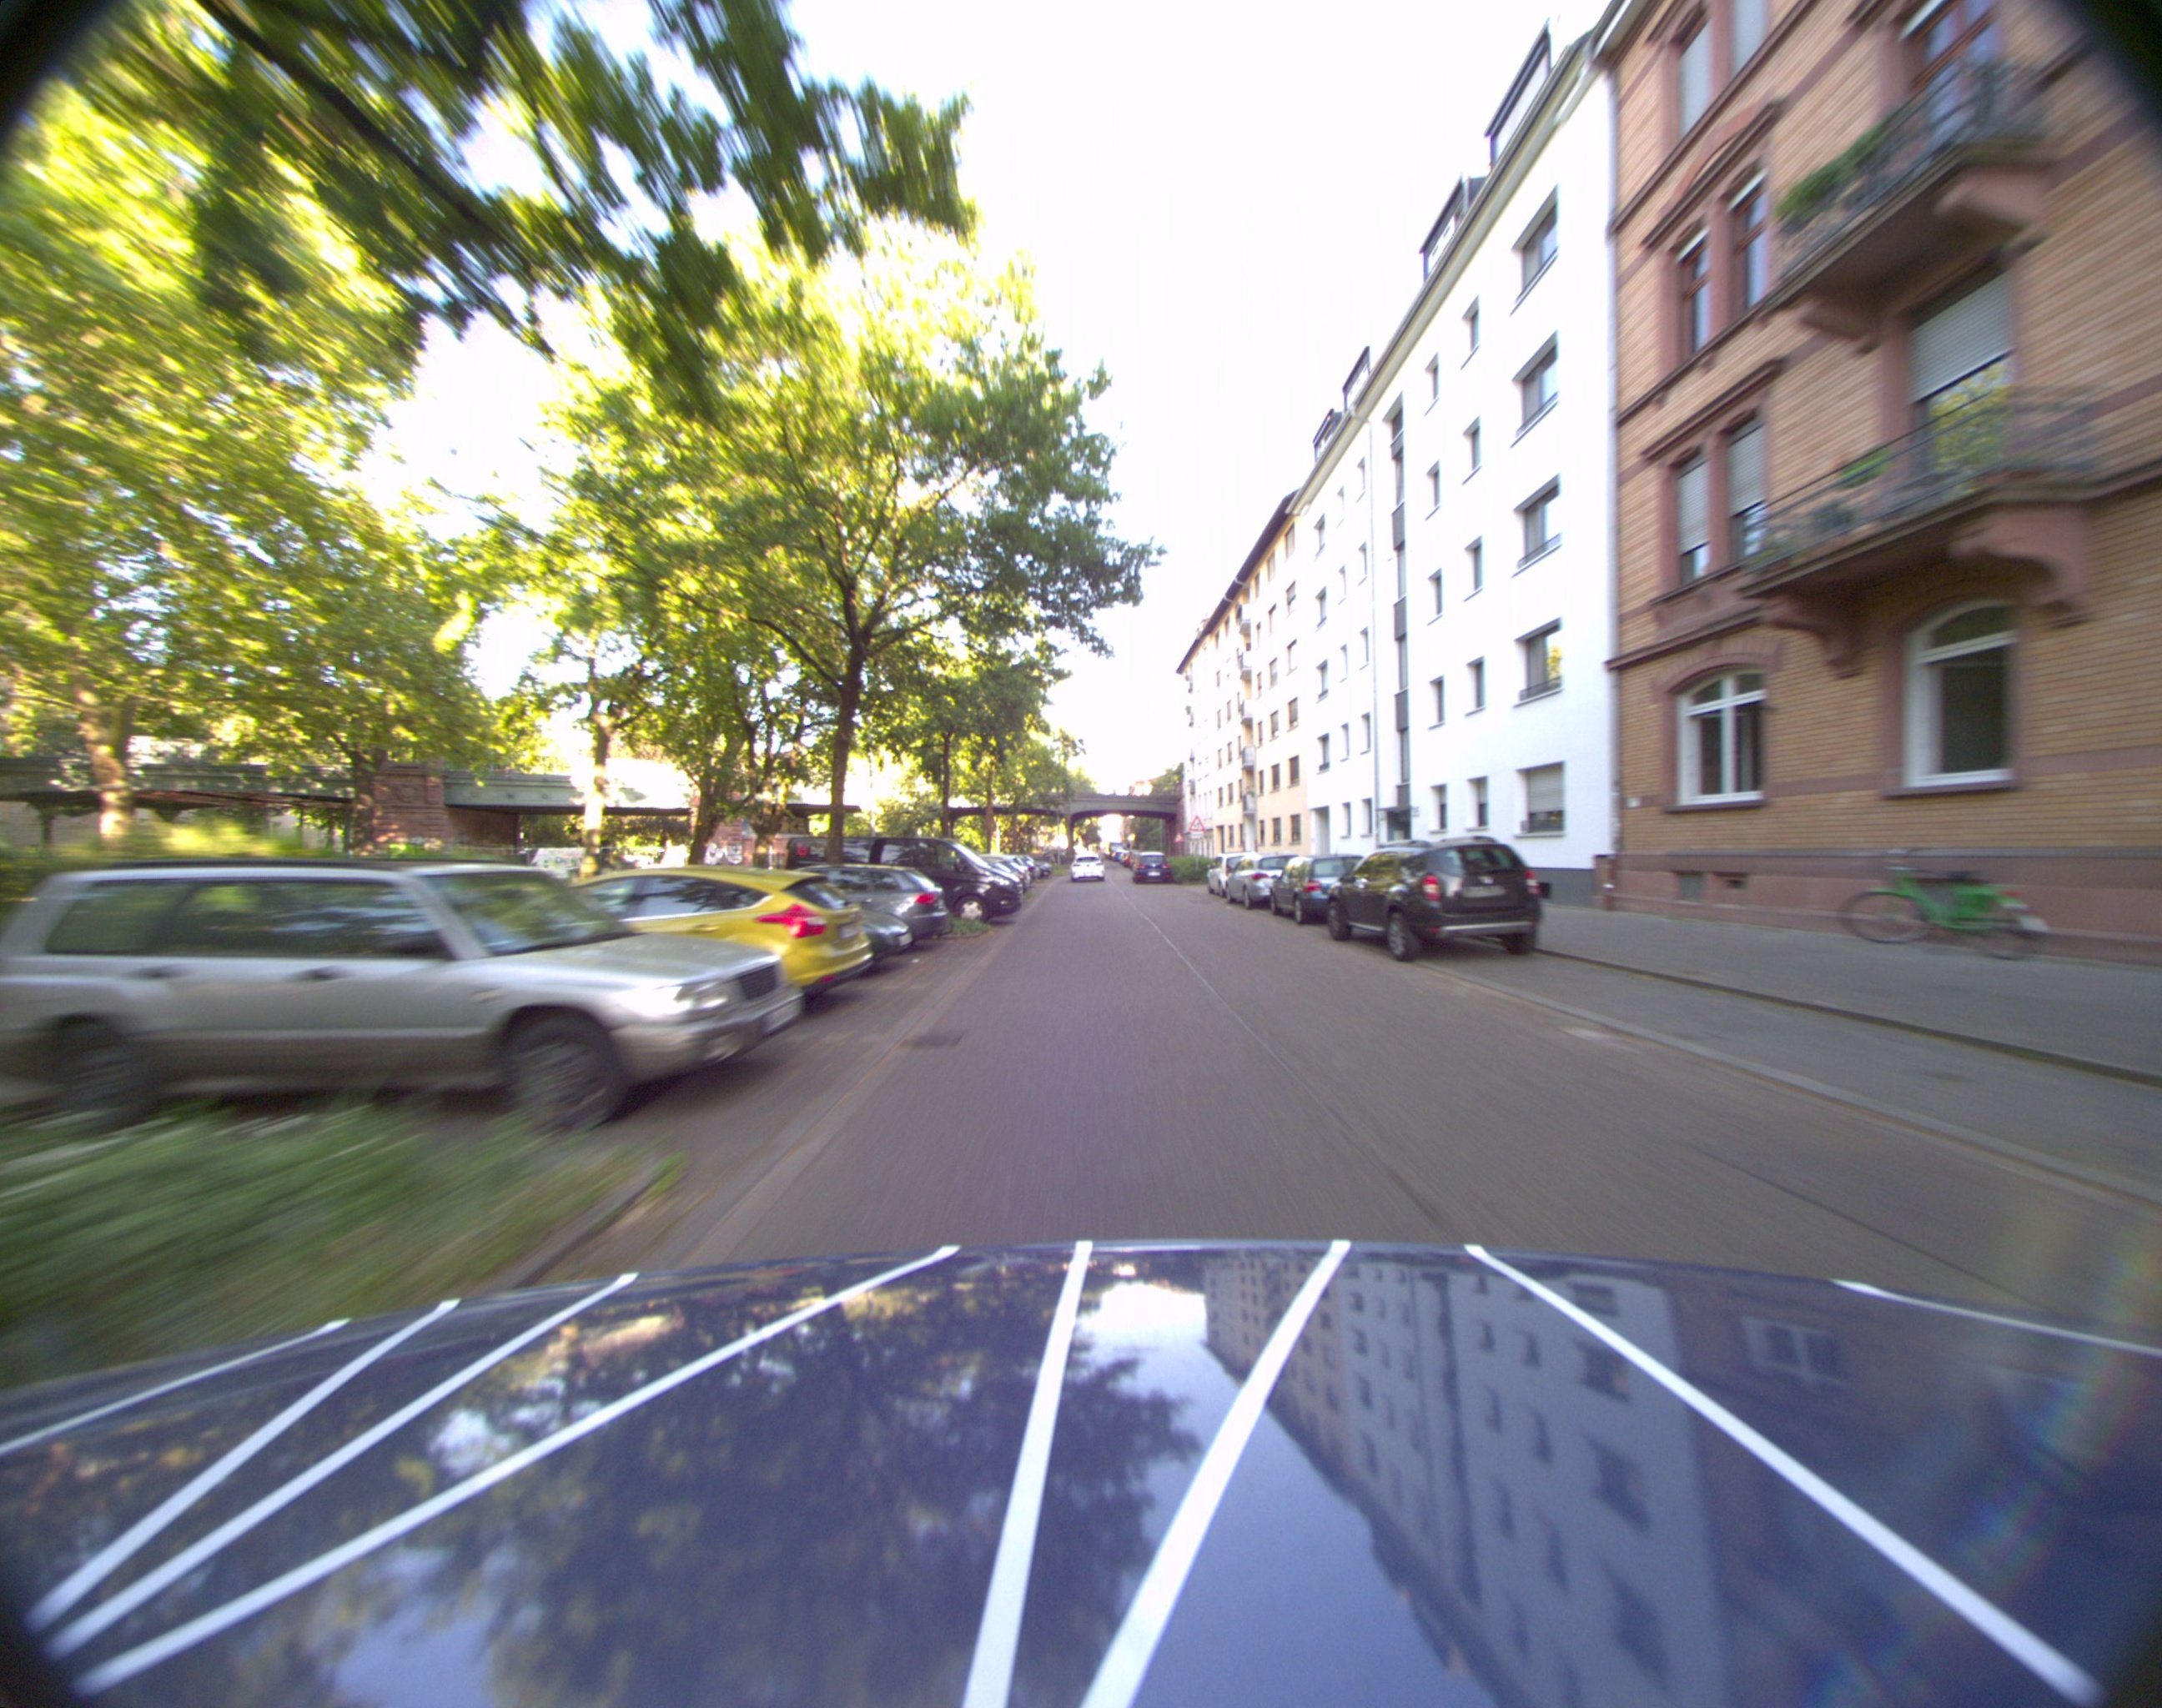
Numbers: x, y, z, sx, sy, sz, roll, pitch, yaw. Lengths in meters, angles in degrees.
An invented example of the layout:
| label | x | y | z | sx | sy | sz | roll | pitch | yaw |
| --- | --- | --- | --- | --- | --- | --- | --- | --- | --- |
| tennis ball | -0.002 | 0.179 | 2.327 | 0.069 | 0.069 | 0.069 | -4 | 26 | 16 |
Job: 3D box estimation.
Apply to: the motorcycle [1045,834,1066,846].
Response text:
| label | x | y | z | sx | sy | sz | roll | pitch | yaw |
| --- | --- | --- | --- | --- | --- | --- | --- | --- | --- |
| motorcycle | -2.657 | -1.469 | 79.446 | 1.938 | 1.231 | 0.902 | -3 | 3 | -24 |

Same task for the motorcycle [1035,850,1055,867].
| label | x | y | z | sx | sy | sz | roll | pitch | yaw |
| --- | --- | --- | --- | --- | --- | --- | --- | --- | --- |
| motorcycle | -3.219 | 0.410 | 68.589 | 1.601 | 1.400 | 0.713 | -1 | 3 | 21 |

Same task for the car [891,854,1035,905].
| label | x | y | z | sx | sy | sz | roll | pitch | yaw |
| --- | --- | --- | --- | --- | --- | --- | --- | --- | --- |
| car | -3.866 | 0.829 | 25.227 | 4.408 | 1.569 | 1.664 | 0 | 2 | 6 |

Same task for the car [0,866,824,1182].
| label | x | y | z | sx | sy | sz | roll | pitch | yaw |
| --- | --- | --- | --- | --- | --- | --- | --- | --- | --- |
| car | -4.195 | 0.917 | 4.914 | 4.410 | 1.582 | 1.837 | 0 | 1 | 0 |

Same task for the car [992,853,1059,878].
| label | x | y | z | sx | sy | sz | roll | pitch | yaw |
| --- | --- | --- | --- | --- | --- | --- | --- | --- | --- |
| car | -3.262 | 0.670 | 45.095 | 3.791 | 1.394 | 1.827 | 0 | 2 | 2 |

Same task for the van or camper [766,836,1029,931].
| label | x | y | z | sx | sy | sz | roll | pitch | yaw |
| --- | --- | --- | --- | --- | --- | --- | --- | --- | --- |
| van or camper | -4.008 | 0.637 | 17.230 | 5.426 | 2.015 | 2.030 | 0 | 0 | 3 |

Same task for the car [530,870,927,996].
| label | x | y | z | sx | sy | sz | roll | pitch | yaw |
| --- | --- | --- | --- | --- | --- | --- | --- | --- | --- |
| car | -4.472 | 0.975 | 10.115 | 4.409 | 1.432 | 1.838 | 0 | 1 | 3 |

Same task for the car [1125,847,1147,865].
| label | x | y | z | sx | sy | sz | roll | pitch | yaw |
| --- | --- | --- | --- | --- | --- | --- | --- | --- | --- |
| car | 5.215 | 0.168 | 72.075 | 1.721 | 1.698 | 4.321 | 0 | 1 | -1 |

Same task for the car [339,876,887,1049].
| label | x | y | z | sx | sy | sz | roll | pitch | yaw |
| --- | --- | --- | --- | --- | --- | --- | --- | --- | --- |
| car | -4.432 | 0.991 | 7.677 | 4.409 | 1.432 | 1.838 | 0 | 1 | 3 |

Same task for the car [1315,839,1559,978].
| label | x | y | z | sx | sy | sz | roll | pitch | yaw |
| --- | --- | --- | --- | --- | --- | --- | --- | --- | --- |
| car | 5.161 | 0.674 | 11.720 | 1.756 | 1.696 | 4.200 | -2 | 0 | 0 |

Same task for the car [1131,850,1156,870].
| label | x | y | z | sx | sy | sz | roll | pitch | yaw |
| --- | --- | --- | --- | --- | --- | --- | --- | --- | --- |
| car | 4.827 | 0.439 | 59.222 | 1.640 | 1.458 | 4.000 | 2 | 1 | 1 |

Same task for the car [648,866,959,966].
| label | x | y | z | sx | sy | sz | roll | pitch | yaw |
| --- | --- | --- | --- | --- | --- | --- | --- | --- | --- |
| car | -4.376 | 0.960 | 12.514 | 4.410 | 1.432 | 1.837 | 0 | 1 | 0 |

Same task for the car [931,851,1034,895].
| label | x | y | z | sx | sy | sz | roll | pitch | yaw |
| --- | --- | --- | --- | --- | --- | --- | --- | --- | --- |
| car | -3.825 | 0.726 | 29.951 | 3.791 | 1.637 | 1.664 | 0 | 2 | 1 |

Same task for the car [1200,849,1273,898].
| label | x | y | z | sx | sy | sz | roll | pitch | yaw |
| --- | --- | --- | --- | --- | --- | --- | --- | --- | --- |
| car | 5.399 | 0.623 | 26.785 | 1.672 | 1.499 | 3.999 | -4 | 1 | 0 |

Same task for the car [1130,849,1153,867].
| label | x | y | z | sx | sy | sz | roll | pitch | yaw |
| --- | --- | --- | --- | --- | --- | --- | --- | --- | --- |
| car | 5.113 | 0.344 | 64.539 | 1.693 | 1.433 | 3.999 | -1 | 1 | 1 |

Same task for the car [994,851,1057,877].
| label | x | y | z | sx | sy | sz | roll | pitch | yaw |
| --- | --- | --- | --- | --- | --- | --- | --- | --- | --- |
| car | -3.439 | 0.608 | 47.357 | 3.792 | 1.464 | 1.634 | -1 | 2 | -3 |

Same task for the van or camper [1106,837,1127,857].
| label | x | y | z | sx | sy | sz | roll | pitch | yaw |
| --- | --- | --- | --- | --- | --- | --- | --- | --- | --- |
| van or camper | 4.835 | -1.038 | 103.756 | 2.242 | 2.509 | 6.417 | -2 | 2 | -3 |

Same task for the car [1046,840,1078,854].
| label | x | y | z | sx | sy | sz | roll | pitch | yaw |
| --- | --- | --- | --- | --- | --- | --- | --- | --- | --- |
| car | -2.876 | -1.060 | 115.523 | 4.683 | 1.914 | 1.871 | 1 | 2 | -1 |

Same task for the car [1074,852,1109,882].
| label | x | y | z | sx | sy | sz | roll | pitch | yaw |
| --- | --- | --- | --- | --- | --- | --- | --- | --- | --- |
| car | 0.565 | 0.676 | 40.018 | 1.672 | 1.422 | 4.001 | 1 | -1 | 1 |

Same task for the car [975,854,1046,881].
| label | x | y | z | sx | sy | sz | roll | pitch | yaw |
| --- | --- | --- | --- | --- | --- | --- | --- | --- | --- |
| car | -3.883 | 0.738 | 42.399 | 3.791 | 1.394 | 1.663 | 0 | 2 | 0 |

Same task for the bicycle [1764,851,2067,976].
| label | x | y | z | sx | sy | sz | roll | pitch | yaw |
| --- | --- | --- | --- | --- | --- | --- | --- | --- | --- |
| bicycle | 9.358 | 0.592 | 8.749 | 0.738 | 1.199 | 2.514 | -2 | 0 | 2 |

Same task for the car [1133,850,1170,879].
| label | x | y | z | sx | sy | sz | roll | pitch | yaw |
| --- | --- | --- | --- | --- | --- | --- | --- | --- | --- |
| car | 3.898 | 0.563 | 42.465 | 1.707 | 1.516 | 3.773 | -1 | 1 | 0 |

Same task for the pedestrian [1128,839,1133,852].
| label | x | y | z | sx | sy | sz | roll | pitch | yaw |
| --- | --- | --- | --- | --- | --- | --- | --- | --- | --- |
| pedestrian | 7.516 | -1.297 | 115.385 | 0.639 | 1.904 | 1.046 | -3 | 3 | -6 |

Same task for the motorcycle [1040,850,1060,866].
| label | x | y | z | sx | sy | sz | roll | pitch | yaw |
| --- | --- | --- | --- | --- | --- | --- | --- | --- | --- |
| motorcycle | -2.852 | 0.363 | 69.494 | 1.601 | 1.400 | 0.713 | -1 | 3 | 21 |

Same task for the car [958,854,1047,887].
| label | x | y | z | sx | sy | sz | roll | pitch | yaw |
| --- | --- | --- | --- | --- | --- | --- | --- | --- | --- |
| car | -3.598 | 0.748 | 35.233 | 3.790 | 1.439 | 1.664 | 0 | 2 | 6 |

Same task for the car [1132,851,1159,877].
| label | x | y | z | sx | sy | sz | roll | pitch | yaw |
| --- | --- | --- | --- | --- | --- | --- | --- | --- | --- |
| car | 4.069 | 0.605 | 48.325 | 1.570 | 1.509 | 3.782 | -1 | 1 | 2 |

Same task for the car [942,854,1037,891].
| label | x | y | z | sx | sy | sz | roll | pitch | yaw |
| --- | --- | --- | --- | --- | --- | --- | --- | --- | --- |
| car | -3.881 | 0.789 | 32.590 | 3.790 | 1.465 | 1.664 | 0 | 2 | 3 |

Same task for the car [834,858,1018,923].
| label | x | y | z | sx | sy | sz | roll | pitch | yaw |
| --- | --- | --- | --- | --- | --- | --- | --- | --- | --- |
| car | -3.899 | 0.902 | 19.728 | 4.411 | 1.492 | 1.836 | 0 | 2 | -2 |

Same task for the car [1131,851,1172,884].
| label | x | y | z | sx | sy | sz | roll | pitch | yaw |
| --- | --- | --- | --- | --- | --- | --- | --- | --- | --- |
| car | 3.404 | 0.615 | 37.167 | 1.743 | 1.471 | 4.000 | 0 | 1 | 2 |

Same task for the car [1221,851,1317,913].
| label | x | y | z | sx | sy | sz | roll | pitch | yaw |
| --- | --- | --- | --- | --- | --- | --- | --- | --- | --- |
| car | 5.239 | 0.707 | 21.684 | 1.672 | 1.463 | 4.284 | -4 | 1 | 1 |

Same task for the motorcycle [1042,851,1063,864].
| label | x | y | z | sx | sy | sz | roll | pitch | yaw |
| --- | --- | --- | --- | --- | --- | --- | --- | --- | --- |
| motorcycle | -2.756 | 0.340 | 73.789 | 1.839 | 1.126 | 0.849 | -3 | 3 | -23 |

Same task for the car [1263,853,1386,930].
| label | x | y | z | sx | sy | sz | roll | pitch | yaw |
| --- | --- | --- | --- | --- | --- | --- | --- | --- | --- |
| car | 5.321 | 0.750 | 17.122 | 1.619 | 1.443 | 4.000 | -3 | 0 | 3 |

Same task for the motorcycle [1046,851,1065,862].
| label | x | y | z | sx | sy | sz | roll | pitch | yaw |
| --- | --- | --- | --- | --- | --- | --- | --- | --- | --- |
| motorcycle | -2.587 | 0.237 | 77.833 | 1.729 | 1.024 | 0.810 | -4 | 3 | -33 |

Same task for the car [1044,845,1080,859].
| label | x | y | z | sx | sy | sz | roll | pitch | yaw |
| --- | --- | --- | --- | --- | --- | --- | --- | --- | --- |
| car | -2.488 | -0.271 | 98.284 | 4.544 | 1.686 | 1.906 | -2 | 2 | -1 |

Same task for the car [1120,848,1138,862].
| label | x | y | z | sx | sy | sz | roll | pitch | yaw |
| --- | --- | --- | --- | --- | --- | --- | --- | --- | --- |
| car | 5.535 | 0.067 | 87.911 | 1.599 | 1.538 | 3.913 | 0 | 1 | -2 |

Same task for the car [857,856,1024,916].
| label | x | y | z | sx | sy | sz | roll | pitch | yaw |
| --- | --- | --- | --- | --- | --- | --- | --- | --- | --- |
| car | -3.953 | 0.896 | 21.812 | 4.409 | 1.569 | 1.664 | 0 | 2 | 3 |

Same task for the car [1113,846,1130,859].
| label | x | y | z | sx | sy | sz | roll | pitch | yaw |
| --- | --- | --- | --- | --- | --- | --- | --- | --- | --- |
| car | 5.188 | -0.206 | 97.415 | 1.749 | 1.458 | 4.372 | -2 | 2 | -3 |
